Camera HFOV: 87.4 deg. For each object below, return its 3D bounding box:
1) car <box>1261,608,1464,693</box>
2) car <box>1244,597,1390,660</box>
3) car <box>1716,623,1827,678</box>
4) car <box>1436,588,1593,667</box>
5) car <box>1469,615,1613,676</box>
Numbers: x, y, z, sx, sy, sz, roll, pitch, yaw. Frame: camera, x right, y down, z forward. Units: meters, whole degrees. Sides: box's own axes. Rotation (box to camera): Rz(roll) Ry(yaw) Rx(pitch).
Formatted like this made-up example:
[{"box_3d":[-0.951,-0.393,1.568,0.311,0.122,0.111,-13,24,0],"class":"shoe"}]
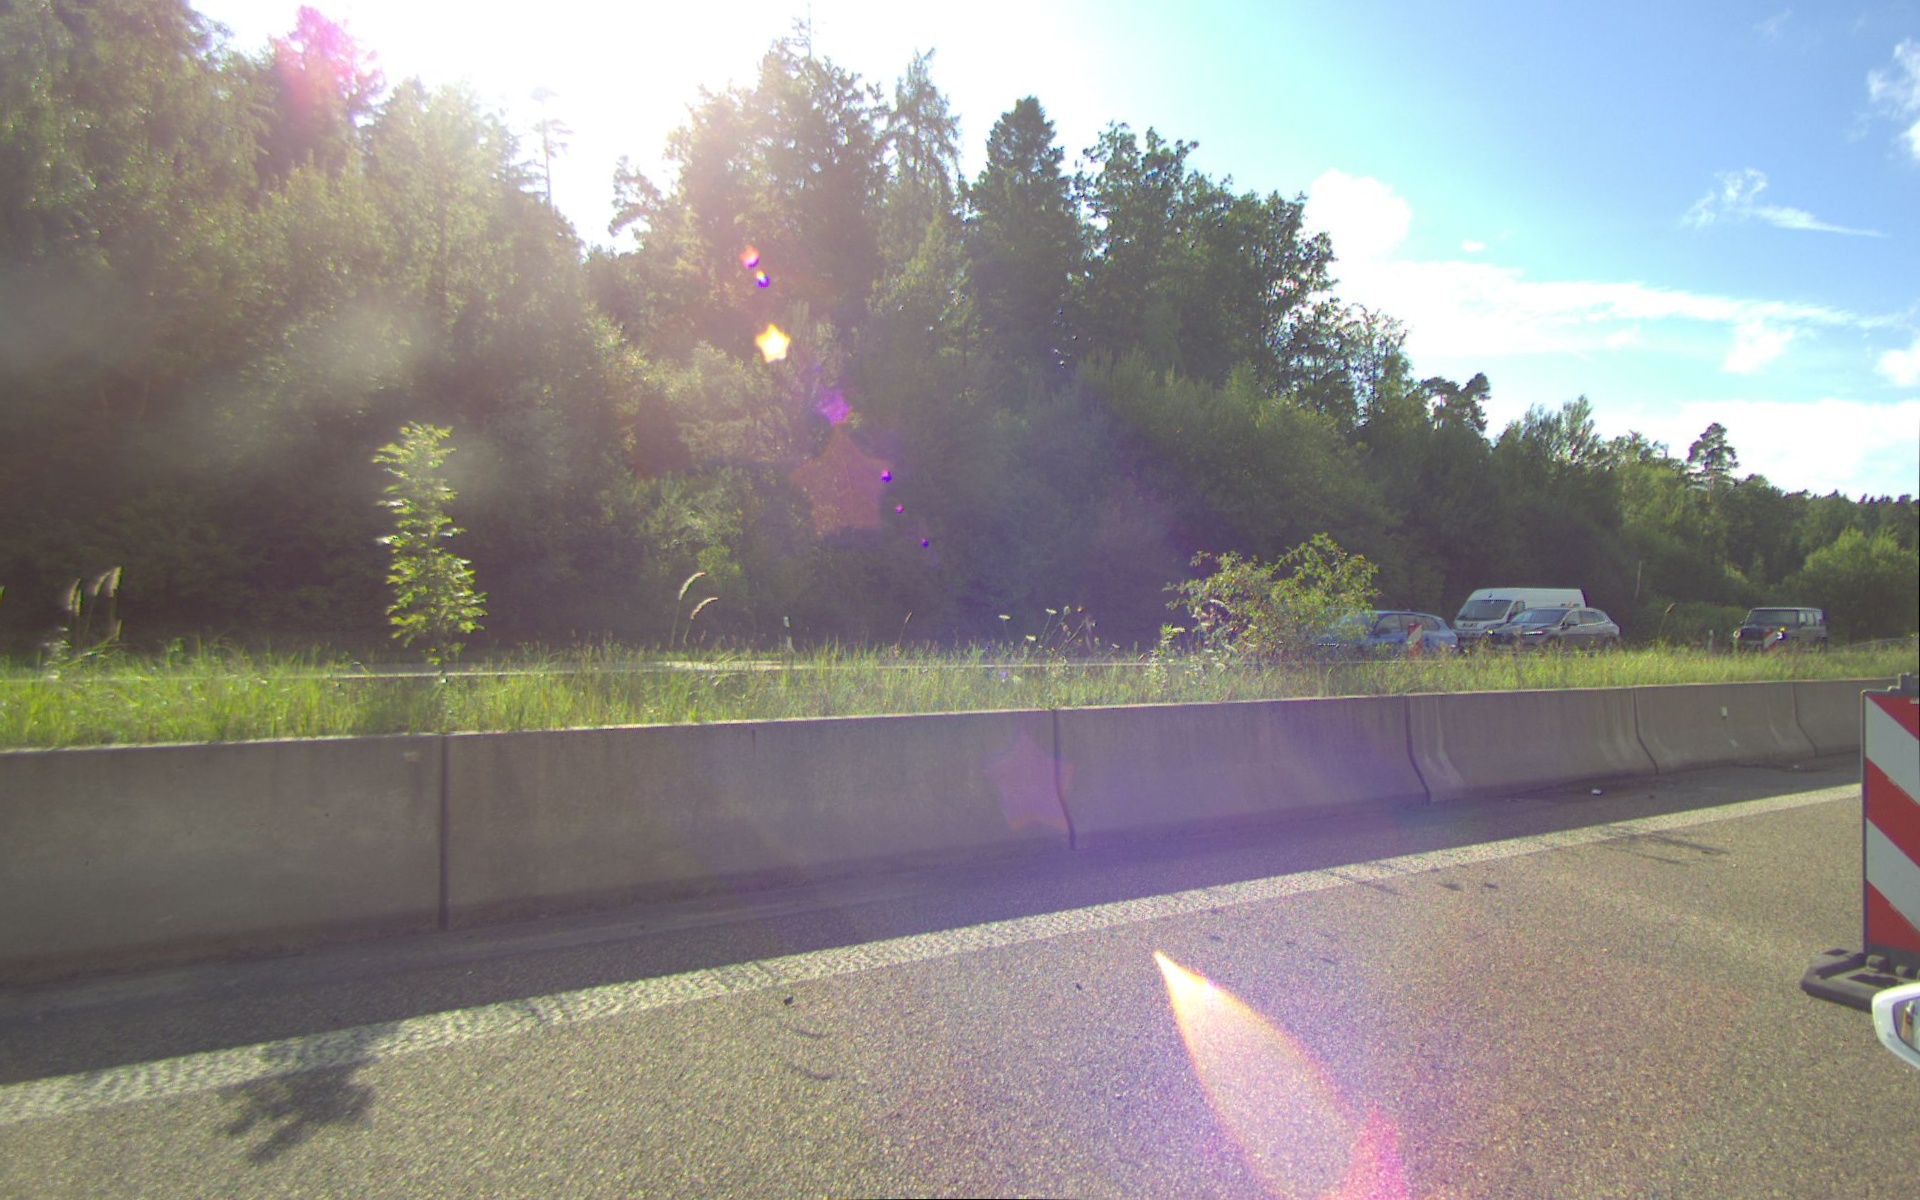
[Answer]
[{"box_3d":[8.657,1.060,21.524,4.261,1.624,1.769,2,0,-30],"class":"car"},{"box_3d":[11.581,0.934,32.482,4.706,1.878,1.851,2,0,-30],"class":"car"},{"box_3d":[31.071,1.925,38.430,4.563,1.928,1.769,2,0,-30],"class":"car"},{"box_3d":[20.553,1.020,37.117,6.446,2.720,2.018,2,0,-30],"class":"car"},{"box_3d":[17.766,1.383,30.682,4.563,1.711,1.769,2,0,-30],"class":"car"}]
